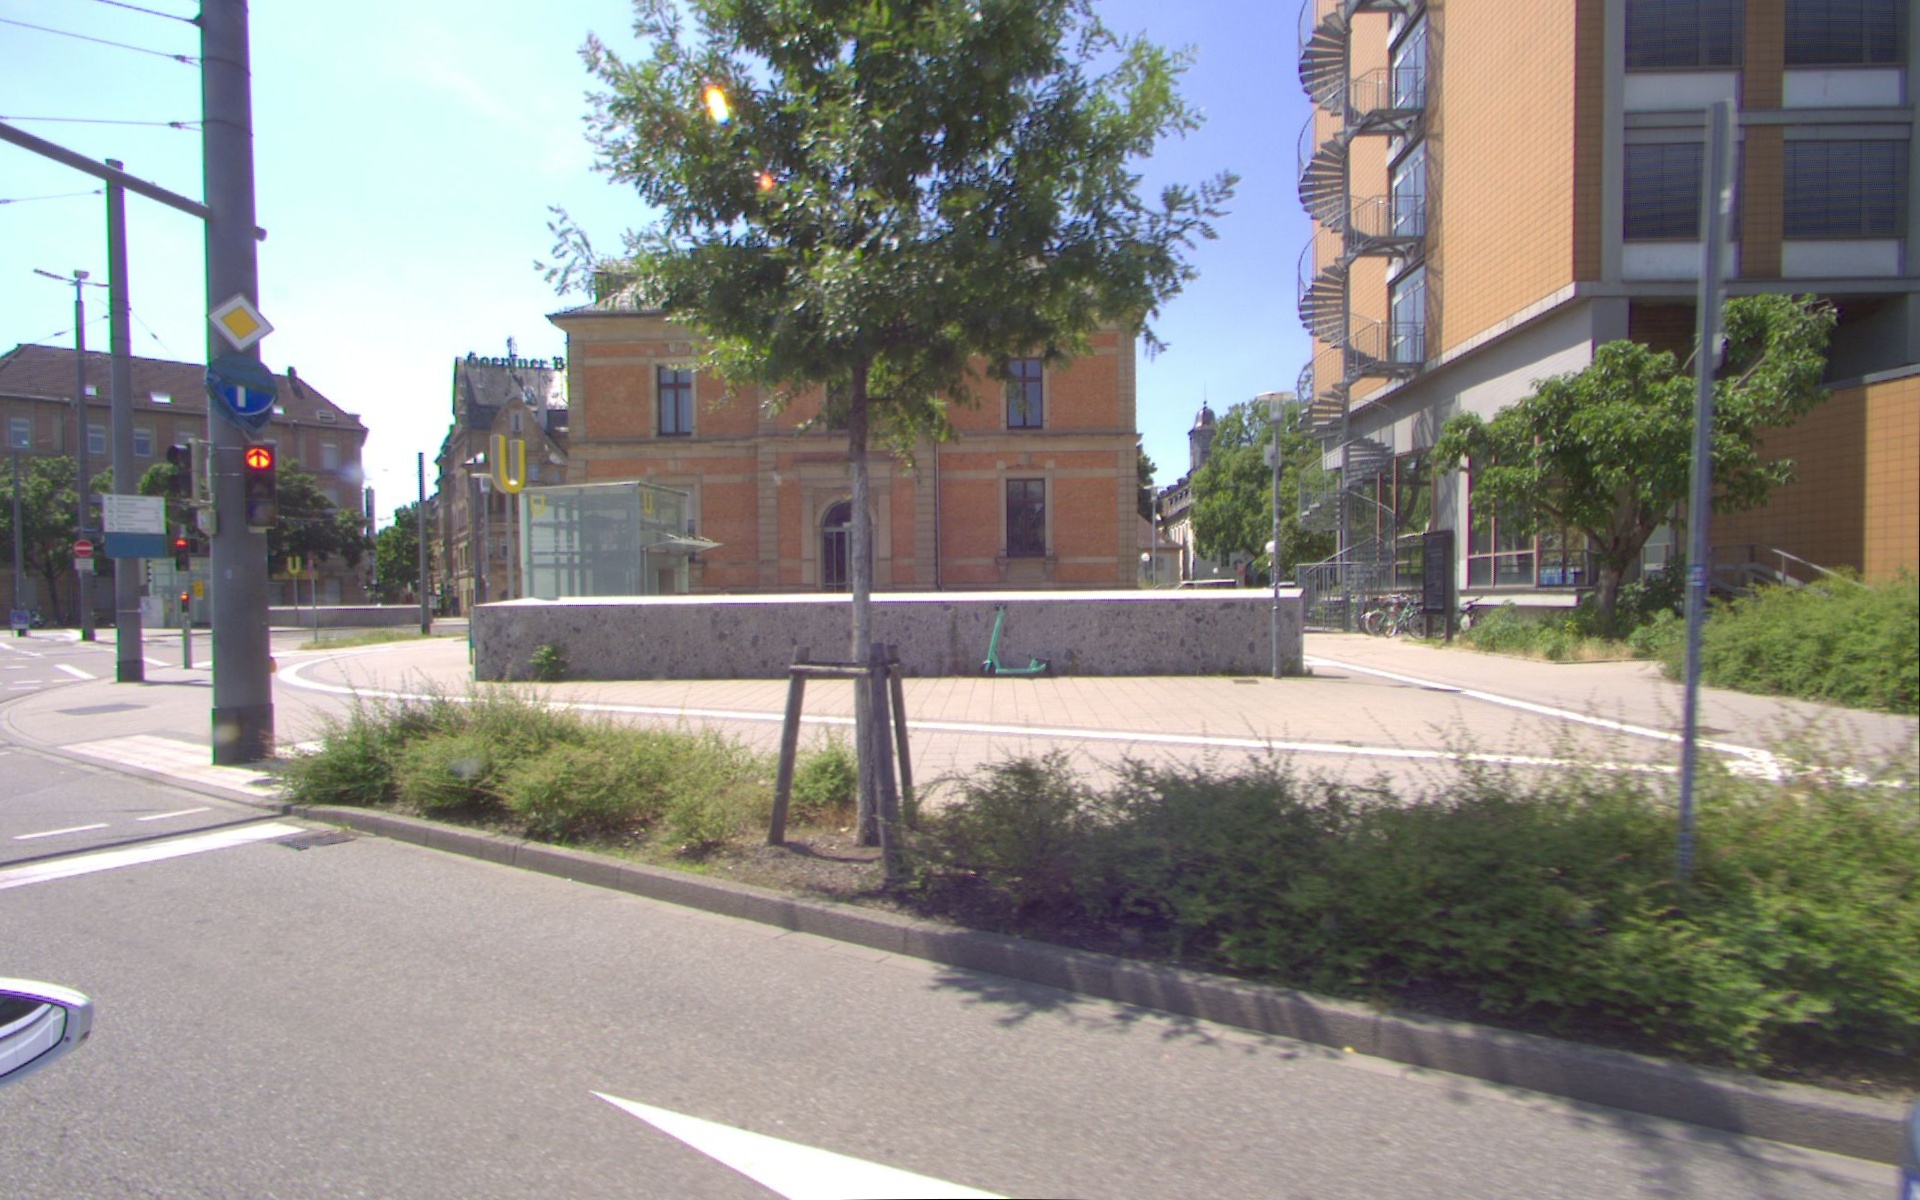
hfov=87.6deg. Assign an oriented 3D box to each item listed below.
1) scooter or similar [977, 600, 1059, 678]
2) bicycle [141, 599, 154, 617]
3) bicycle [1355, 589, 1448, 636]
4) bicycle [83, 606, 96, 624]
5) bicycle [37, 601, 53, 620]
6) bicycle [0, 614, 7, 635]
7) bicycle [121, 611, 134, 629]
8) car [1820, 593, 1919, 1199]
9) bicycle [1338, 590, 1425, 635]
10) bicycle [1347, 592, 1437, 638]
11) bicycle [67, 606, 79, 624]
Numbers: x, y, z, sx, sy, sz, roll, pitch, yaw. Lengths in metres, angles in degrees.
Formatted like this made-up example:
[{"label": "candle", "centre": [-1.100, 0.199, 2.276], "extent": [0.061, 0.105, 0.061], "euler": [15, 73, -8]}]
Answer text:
[{"label": "scooter or similar", "centre": [0.922, 0.605, 15.752], "extent": [1.227, 1.186, 0.458], "euler": [0, 1, 12]}, {"label": "bicycle", "centre": [-53.571, 0.517, 66.035], "extent": [0.547, 1.135, 1.912], "euler": [-1, 1, -42]}, {"label": "bicycle", "centre": [11.781, 0.349, 26.785], "extent": [2.175, 1.234, 0.637], "euler": [0, -1, 5]}, {"label": "bicycle", "centre": [-55.243, 0.938, 63.543], "extent": [0.547, 1.135, 1.803], "euler": [-1, 1, -42]}, {"label": "bicycle", "centre": [-57.099, 0.652, 62.462], "extent": [2.068, 1.160, 0.440], "euler": [-2, -2, 39]}, {"label": "bicycle", "centre": [-49.392, 1.219, 50.370], "extent": [0.679, 1.066, 2.113], "euler": [0, -2, 7]}, {"label": "bicycle", "centre": [-54.359, 1.289, 65.387], "extent": [0.547, 1.135, 1.853], "euler": [-1, 1, -42]}, {"label": "car", "centre": [3.212, 0.713, 0.519], "extent": [3.944, 1.478, 1.649], "euler": [0, -1, 31]}, {"label": "bicycle", "centre": [11.880, 0.364, 28.273], "extent": [2.175, 1.234, 0.637], "euler": [0, -1, 5]}, {"label": "bicycle", "centre": [11.859, 0.426, 27.533], "extent": [2.175, 1.234, 0.637], "euler": [0, -1, 5]}, {"label": "bicycle", "centre": [-55.791, 0.937, 62.968], "extent": [0.547, 1.135, 1.803], "euler": [-1, 1, -42]}]
